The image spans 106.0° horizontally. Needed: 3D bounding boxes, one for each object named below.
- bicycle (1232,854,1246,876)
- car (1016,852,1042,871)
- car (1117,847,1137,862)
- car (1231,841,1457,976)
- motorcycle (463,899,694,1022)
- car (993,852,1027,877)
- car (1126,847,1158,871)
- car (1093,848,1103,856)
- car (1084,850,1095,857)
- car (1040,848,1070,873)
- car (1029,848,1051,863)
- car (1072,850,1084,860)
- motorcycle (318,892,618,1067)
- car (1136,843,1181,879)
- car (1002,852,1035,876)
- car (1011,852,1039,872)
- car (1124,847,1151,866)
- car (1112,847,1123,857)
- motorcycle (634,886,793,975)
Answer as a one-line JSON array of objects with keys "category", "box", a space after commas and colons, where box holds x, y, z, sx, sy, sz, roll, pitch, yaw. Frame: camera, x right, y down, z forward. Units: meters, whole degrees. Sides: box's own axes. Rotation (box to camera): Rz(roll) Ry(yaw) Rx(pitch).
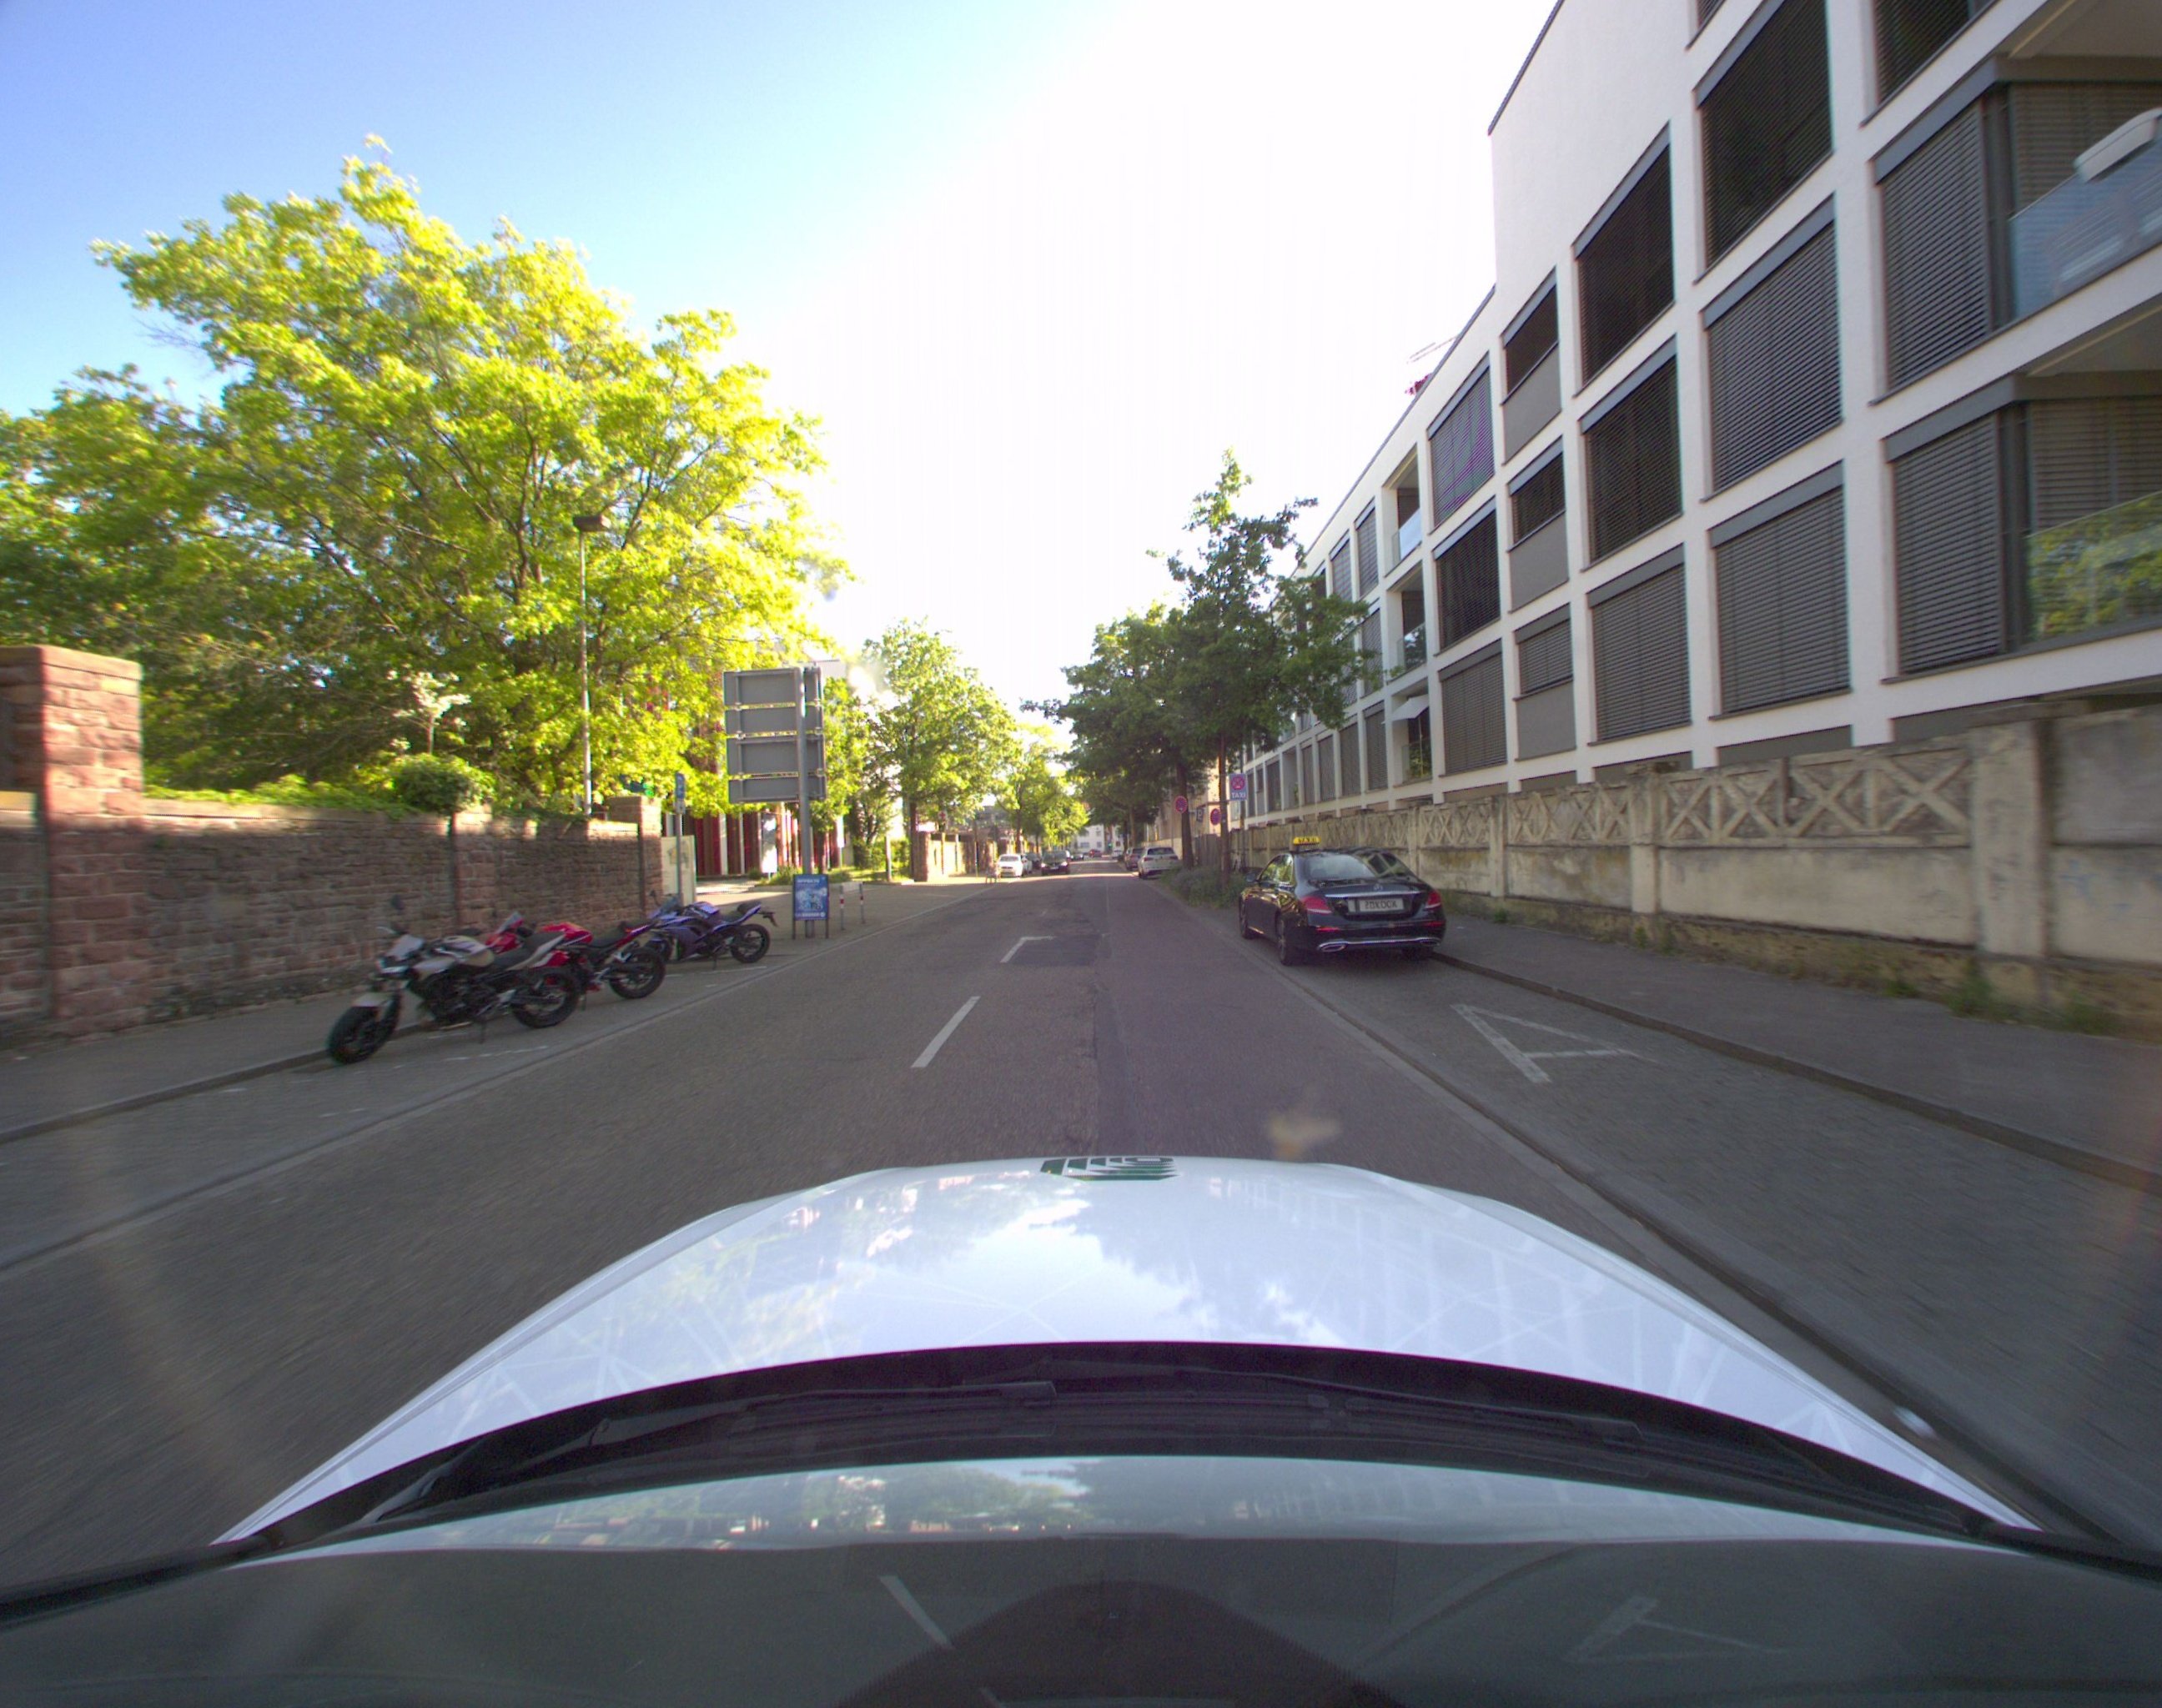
[{"category": "bicycle", "box": [6.595, 0.450, 34.060, 0.354, 0.842, 1.325, -2, 0, 2]}, {"category": "car", "box": [-4.439, 0.597, 70.224, 1.900, 1.530, 4.001, -2, 0, 1]}, {"category": "car", "box": [4.906, 0.034, 86.464, 1.986, 1.425, 3.838, -2, 0, 2]}, {"category": "car", "box": [3.332, 0.600, 11.160, 1.761, 1.440, 3.999, -2, 0, 0]}, {"category": "motorcycle", "box": [-5.577, 1.127, 9.204, 0.570, 1.074, 2.136, -2, 1, 34]}, {"category": "car", "box": [-4.498, 0.618, 52.190, 1.761, 1.487, 3.999, -1, 0, 0]}, {"category": "car", "box": [4.142, 0.307, 55.754, 1.986, 1.465, 3.838, -2, 0, 2]}, {"category": "car", "box": [3.148, -0.316, 150.387, 1.882, 1.399, 3.838, -2, 0, 2]}, {"category": "car", "box": [1.771, -0.083, 168.829, 1.988, 1.453, 3.998, -2, 0, -2]}, {"category": "car", "box": [-1.671, 0.391, 53.498, 1.647, 1.530, 4.001, -2, 0, 1]}, {"category": "car", "box": [-4.186, 0.134, 83.289, 1.900, 1.530, 4.001, -2, 0, 1]}, {"category": "car", "box": [-0.399, 0.167, 117.735, 1.579, 1.275, 3.838, -2, 0, 2]}, {"category": "motorcycle", "box": [-5.610, 1.063, 7.636, 0.570, 1.275, 2.136, -2, 1, 34]}, {"category": "car", "box": [3.751, 0.315, 39.990, 1.943, 1.578, 3.838, -2, 0, 2]}, {"category": "car", "box": [-4.416, 0.678, 58.047, 1.900, 1.530, 4.001, -2, 0, 1]}, {"category": "car", "box": [-4.499, 0.626, 66.082, 1.900, 1.530, 4.001, -2, 0, 1]}, {"category": "car", "box": [4.464, 0.177, 65.147, 1.986, 1.425, 3.838, -2, 0, 2]}, {"category": "car", "box": [5.426, -0.236, 120.919, 1.579, 1.399, 3.838, -2, 0, 2]}, {"category": "motorcycle", "box": [-5.396, 1.084, 12.111, 0.570, 1.074, 2.136, -2, 1, 34]}]
